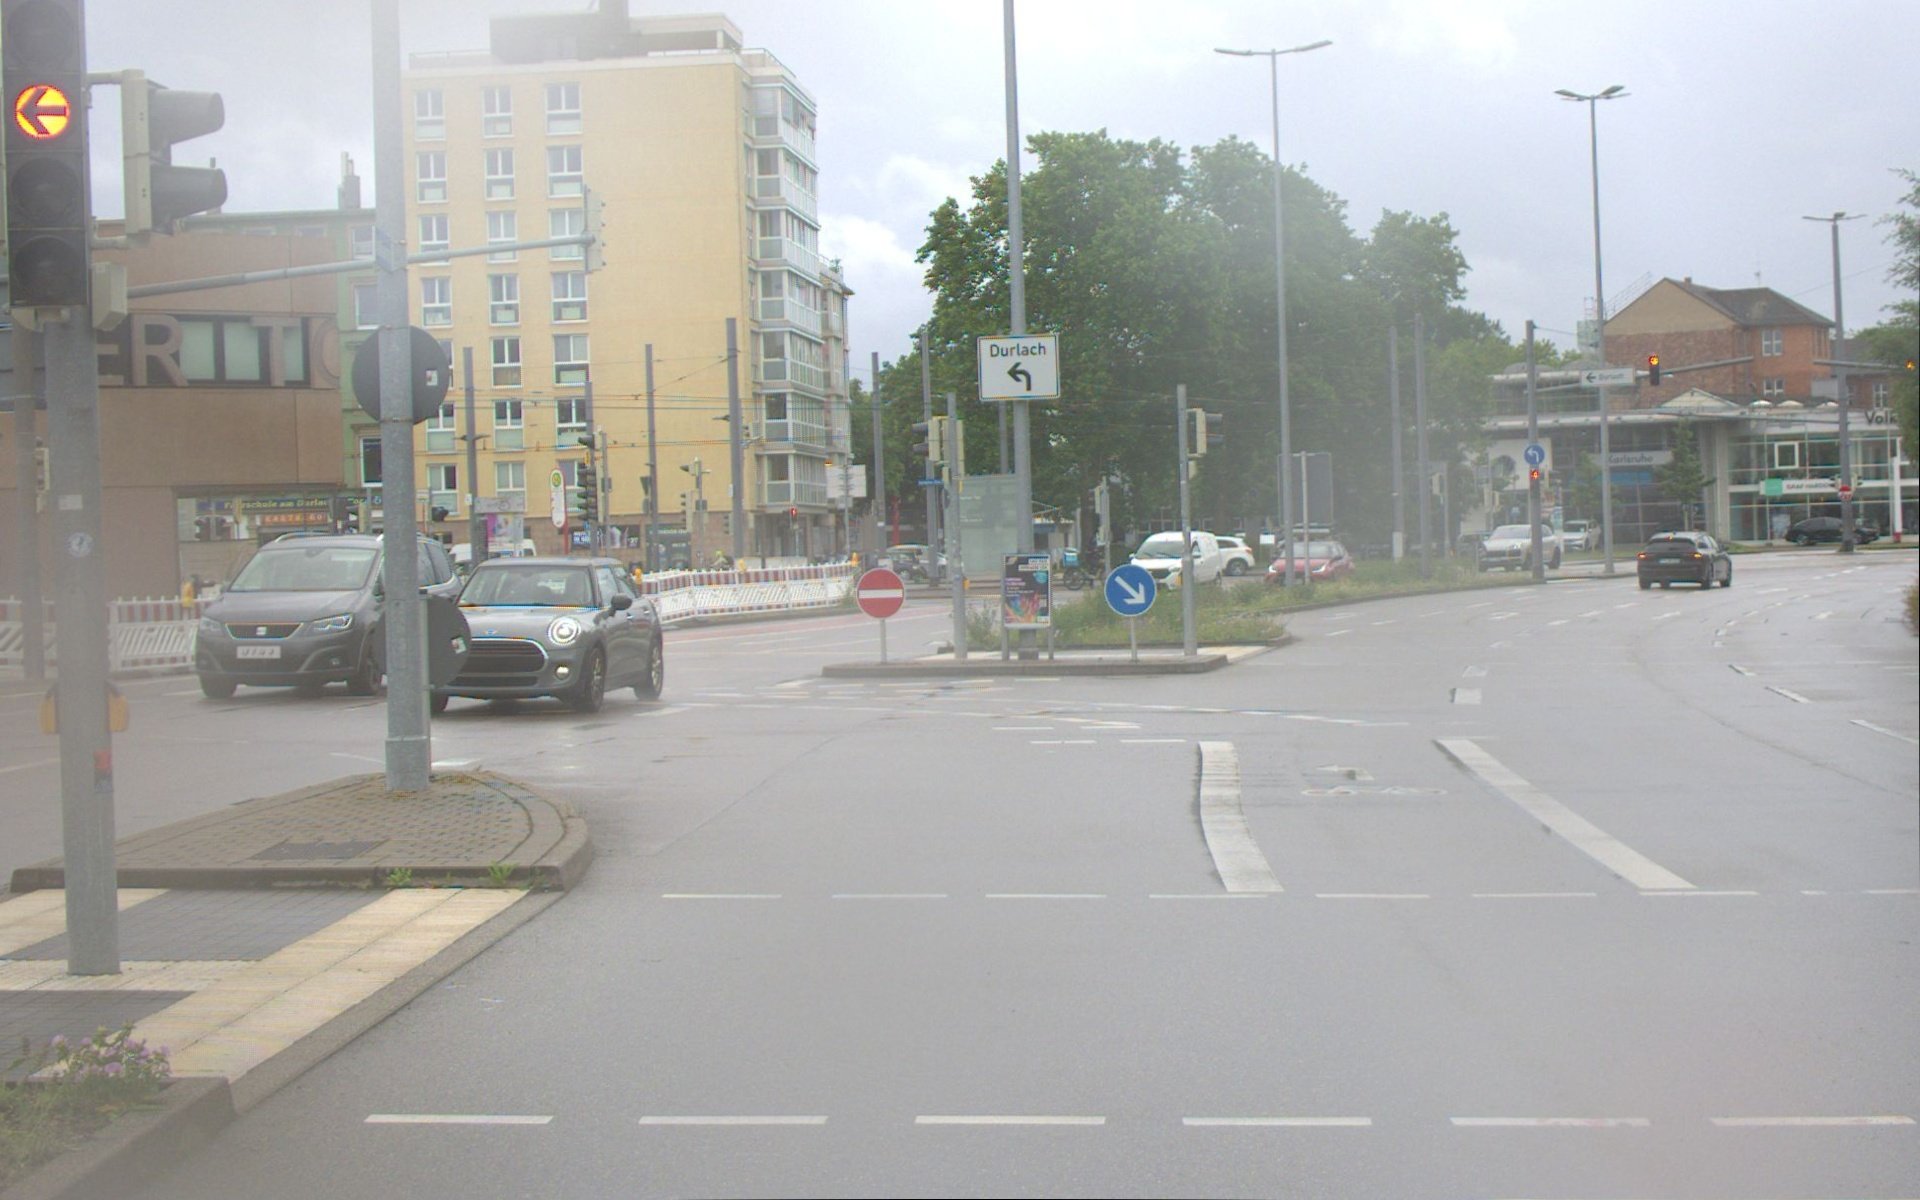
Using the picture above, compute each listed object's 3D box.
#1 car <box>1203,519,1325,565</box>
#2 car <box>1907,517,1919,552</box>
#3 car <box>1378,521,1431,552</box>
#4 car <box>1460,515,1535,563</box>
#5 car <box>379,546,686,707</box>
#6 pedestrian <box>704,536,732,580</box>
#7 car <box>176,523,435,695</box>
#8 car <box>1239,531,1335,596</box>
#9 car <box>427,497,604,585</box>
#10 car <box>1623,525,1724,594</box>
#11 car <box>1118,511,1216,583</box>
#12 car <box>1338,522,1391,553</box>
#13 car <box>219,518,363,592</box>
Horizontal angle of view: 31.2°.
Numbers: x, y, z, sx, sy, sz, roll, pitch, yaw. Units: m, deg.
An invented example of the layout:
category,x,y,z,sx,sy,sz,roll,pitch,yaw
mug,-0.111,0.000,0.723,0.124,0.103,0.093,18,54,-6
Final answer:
category,x,y,z,sx,sy,sz,roll,pitch,yaw
car,11.816,-2.260,133.419,4.382,1.637,1.796,-2,1,-26
car,46.718,-3.162,162.789,1.794,1.637,4.149,0,2,44
car,24.581,-3.523,189.985,1.792,1.637,4.154,-1,1,23
car,19.384,-2.206,123.793,1.792,1.637,4.155,-1,1,21
car,-4.007,0.207,32.919,1.773,1.371,4.119,-1,1,10
pedestrian,-10.195,-1.764,144.702,1.092,1.807,1.119,-2,1,-4
car,-6.927,0.040,36.841,1.772,1.673,4.769,-2,1,1
car,8.785,-0.984,92.025,1.791,1.637,4.043,-1,1,16
car,-18.250,-2.427,141.472,6.742,3.368,2.809,-2,1,2
car,18.047,-1.034,86.836,1.792,1.637,4.155,-1,1,21
car,5.603,-1.450,92.818,1.791,1.852,4.156,-1,1,15
car,22.483,-3.481,190.819,1.792,1.637,4.154,-1,1,23
car,-27.620,-1.866,142.114,5.351,2.877,2.339,-2,1,2
